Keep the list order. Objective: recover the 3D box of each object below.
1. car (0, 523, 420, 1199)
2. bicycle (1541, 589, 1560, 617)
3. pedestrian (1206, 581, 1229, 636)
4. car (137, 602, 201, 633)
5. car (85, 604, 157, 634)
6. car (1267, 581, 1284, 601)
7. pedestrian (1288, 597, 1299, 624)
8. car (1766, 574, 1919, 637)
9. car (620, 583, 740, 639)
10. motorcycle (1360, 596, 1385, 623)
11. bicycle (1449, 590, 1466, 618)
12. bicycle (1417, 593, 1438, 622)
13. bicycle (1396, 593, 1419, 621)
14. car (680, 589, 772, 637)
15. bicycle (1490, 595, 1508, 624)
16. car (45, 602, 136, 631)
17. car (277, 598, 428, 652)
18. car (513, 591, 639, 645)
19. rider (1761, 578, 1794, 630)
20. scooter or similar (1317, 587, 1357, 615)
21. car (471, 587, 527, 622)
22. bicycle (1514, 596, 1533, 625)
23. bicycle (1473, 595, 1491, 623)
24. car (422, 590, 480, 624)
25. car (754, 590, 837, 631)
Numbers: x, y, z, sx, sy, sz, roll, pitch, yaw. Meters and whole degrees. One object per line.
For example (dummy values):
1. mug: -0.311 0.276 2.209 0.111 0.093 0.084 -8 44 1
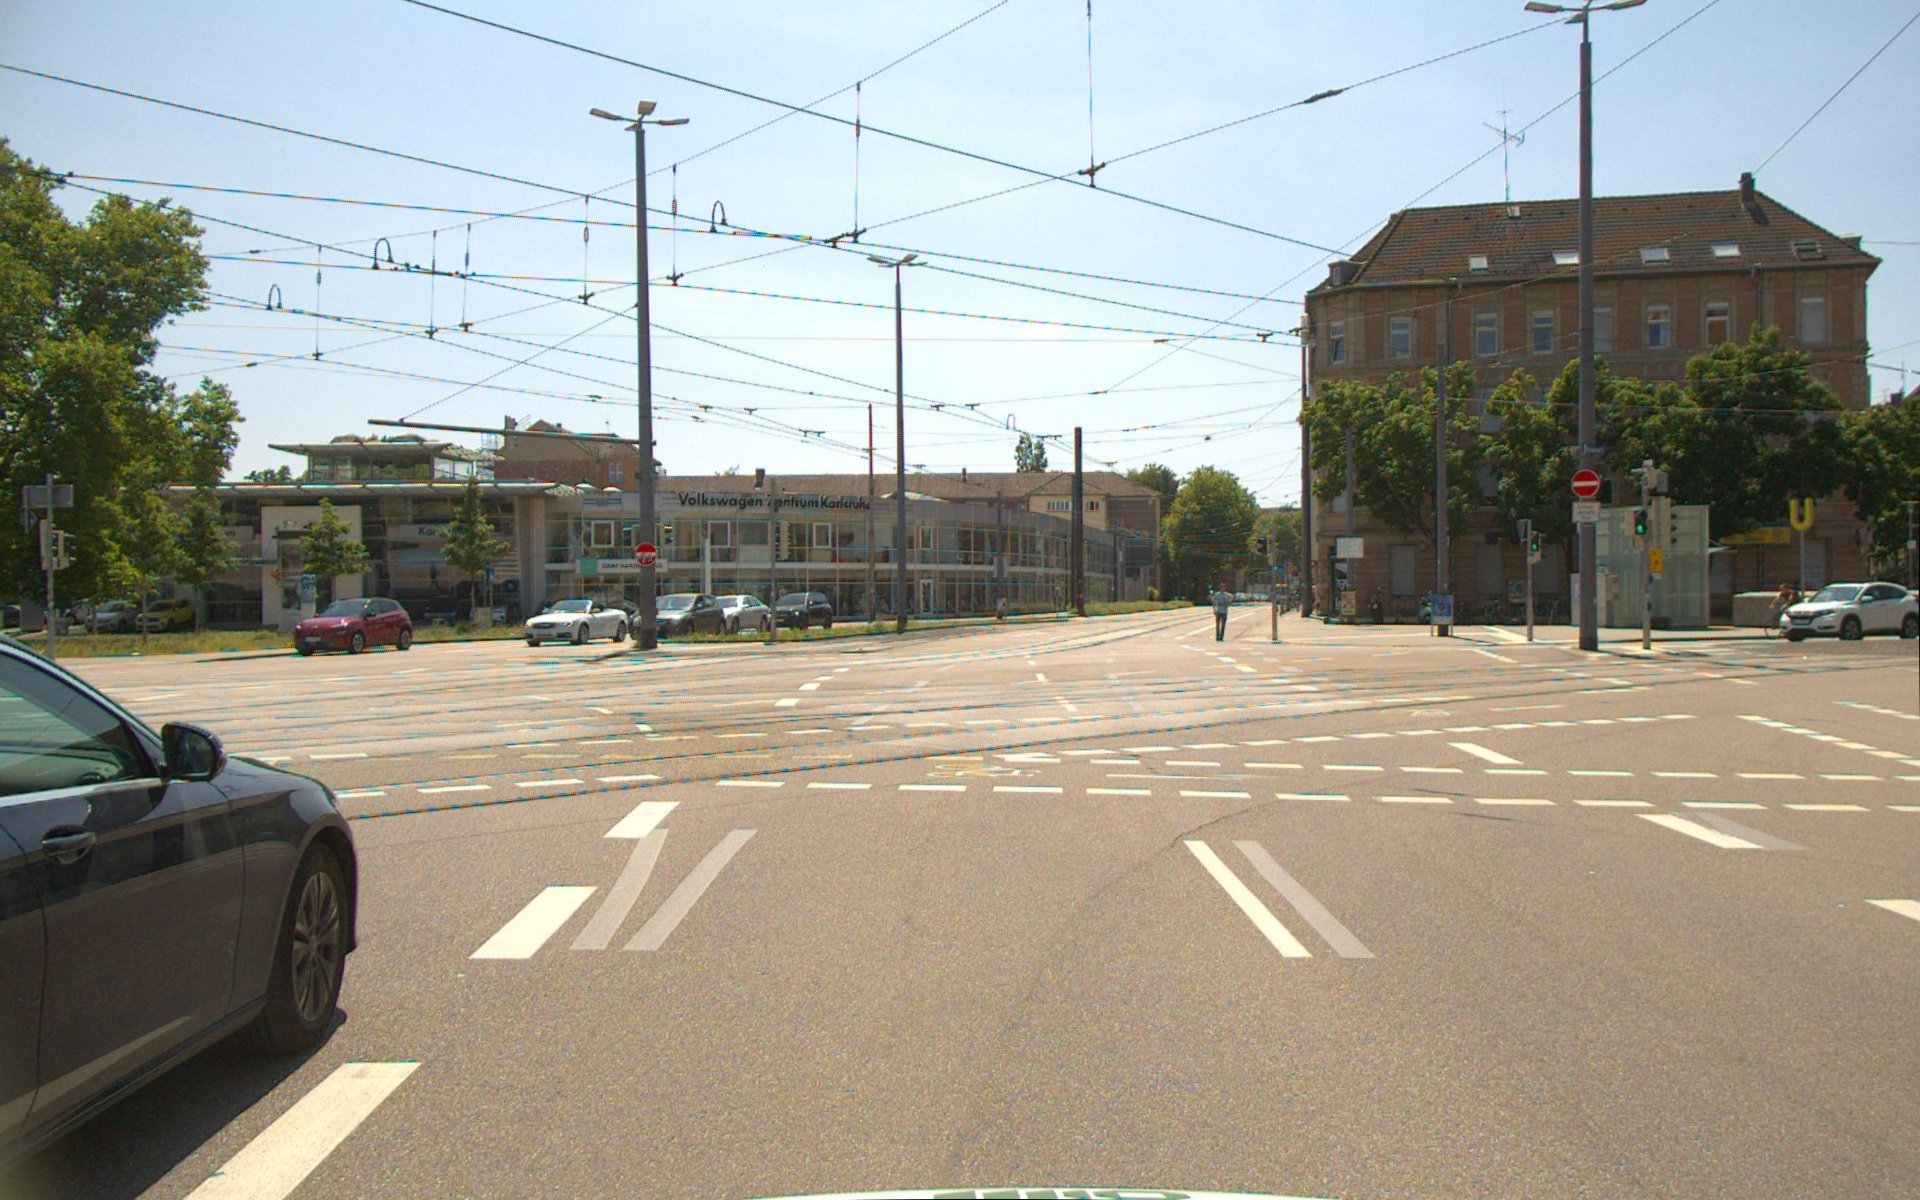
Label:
1. car: -2.785 0.666 3.526 1.761 1.669 4.803 1 0 -1
2. bicycle: 24.280 0.112 68.009 0.539 1.139 1.931 -1 0 13
3. pedestrian: 8.143 0.273 52.346 0.454 1.738 0.635 0 0 -22
4. car: -41.728 0.907 87.345 1.733 1.536 4.320 -1 0 -7
5. car: -44.355 0.980 87.540 1.731 1.536 4.325 -1 0 -2
6. car: 37.473 -1.088 196.405 1.951 2.219 4.372 1 -1 12
7. pedestrian: 25.269 0.775 125.197 0.751 2.049 0.664 1 -1 9
8. car: 24.001 0.130 44.881 4.130 1.633 1.680 -1 0 -27
9. car: -8.751 0.328 52.183 1.951 1.666 4.850 -1 0 14
10. motorcycle: 17.012 0.400 68.173 0.568 1.093 1.946 0 0 1
11. bicycle: 20.385 0.146 67.837 0.539 1.139 1.822 -1 0 13
12. bicycle: 19.241 0.301 68.098 0.433 1.166 2.095 1 -1 4
13. bicycle: 18.393 0.295 68.040 0.539 1.139 1.821 0 0 4
14. car: -8.983 0.462 63.950 1.951 1.770 4.547 -1 0 14
15. bicycle: 22.010 0.376 67.605 0.539 1.139 1.891 0 0 13
16. car: -48.721 0.899 92.684 4.282 1.536 1.749 -1 0 -38
17. car: -17.730 0.697 48.565 1.951 1.491 4.850 -1 0 11
18. car: -11.919 0.521 51.711 2.032 1.608 4.850 -1 0 11
19. rider: 25.662 0.126 51.915 0.865 1.629 0.558 -1 0 -35
20. scooter or similar: 16.123 0.040 70.802 1.769 1.202 0.593 -1 0 -32
21. car: -24.243 0.252 87.081 1.882 1.737 3.998 1 -1 -2
22. bicycle: 23.173 0.425 68.031 0.539 1.139 1.872 0 0 13
23. bicycle: 21.334 0.361 67.635 0.539 1.139 1.822 0 0 13
24. car: -26.702 0.390 86.878 1.882 1.737 3.998 1 -1 -2
25. car: -7.005 0.418 70.912 2.034 1.712 4.850 -1 0 14
